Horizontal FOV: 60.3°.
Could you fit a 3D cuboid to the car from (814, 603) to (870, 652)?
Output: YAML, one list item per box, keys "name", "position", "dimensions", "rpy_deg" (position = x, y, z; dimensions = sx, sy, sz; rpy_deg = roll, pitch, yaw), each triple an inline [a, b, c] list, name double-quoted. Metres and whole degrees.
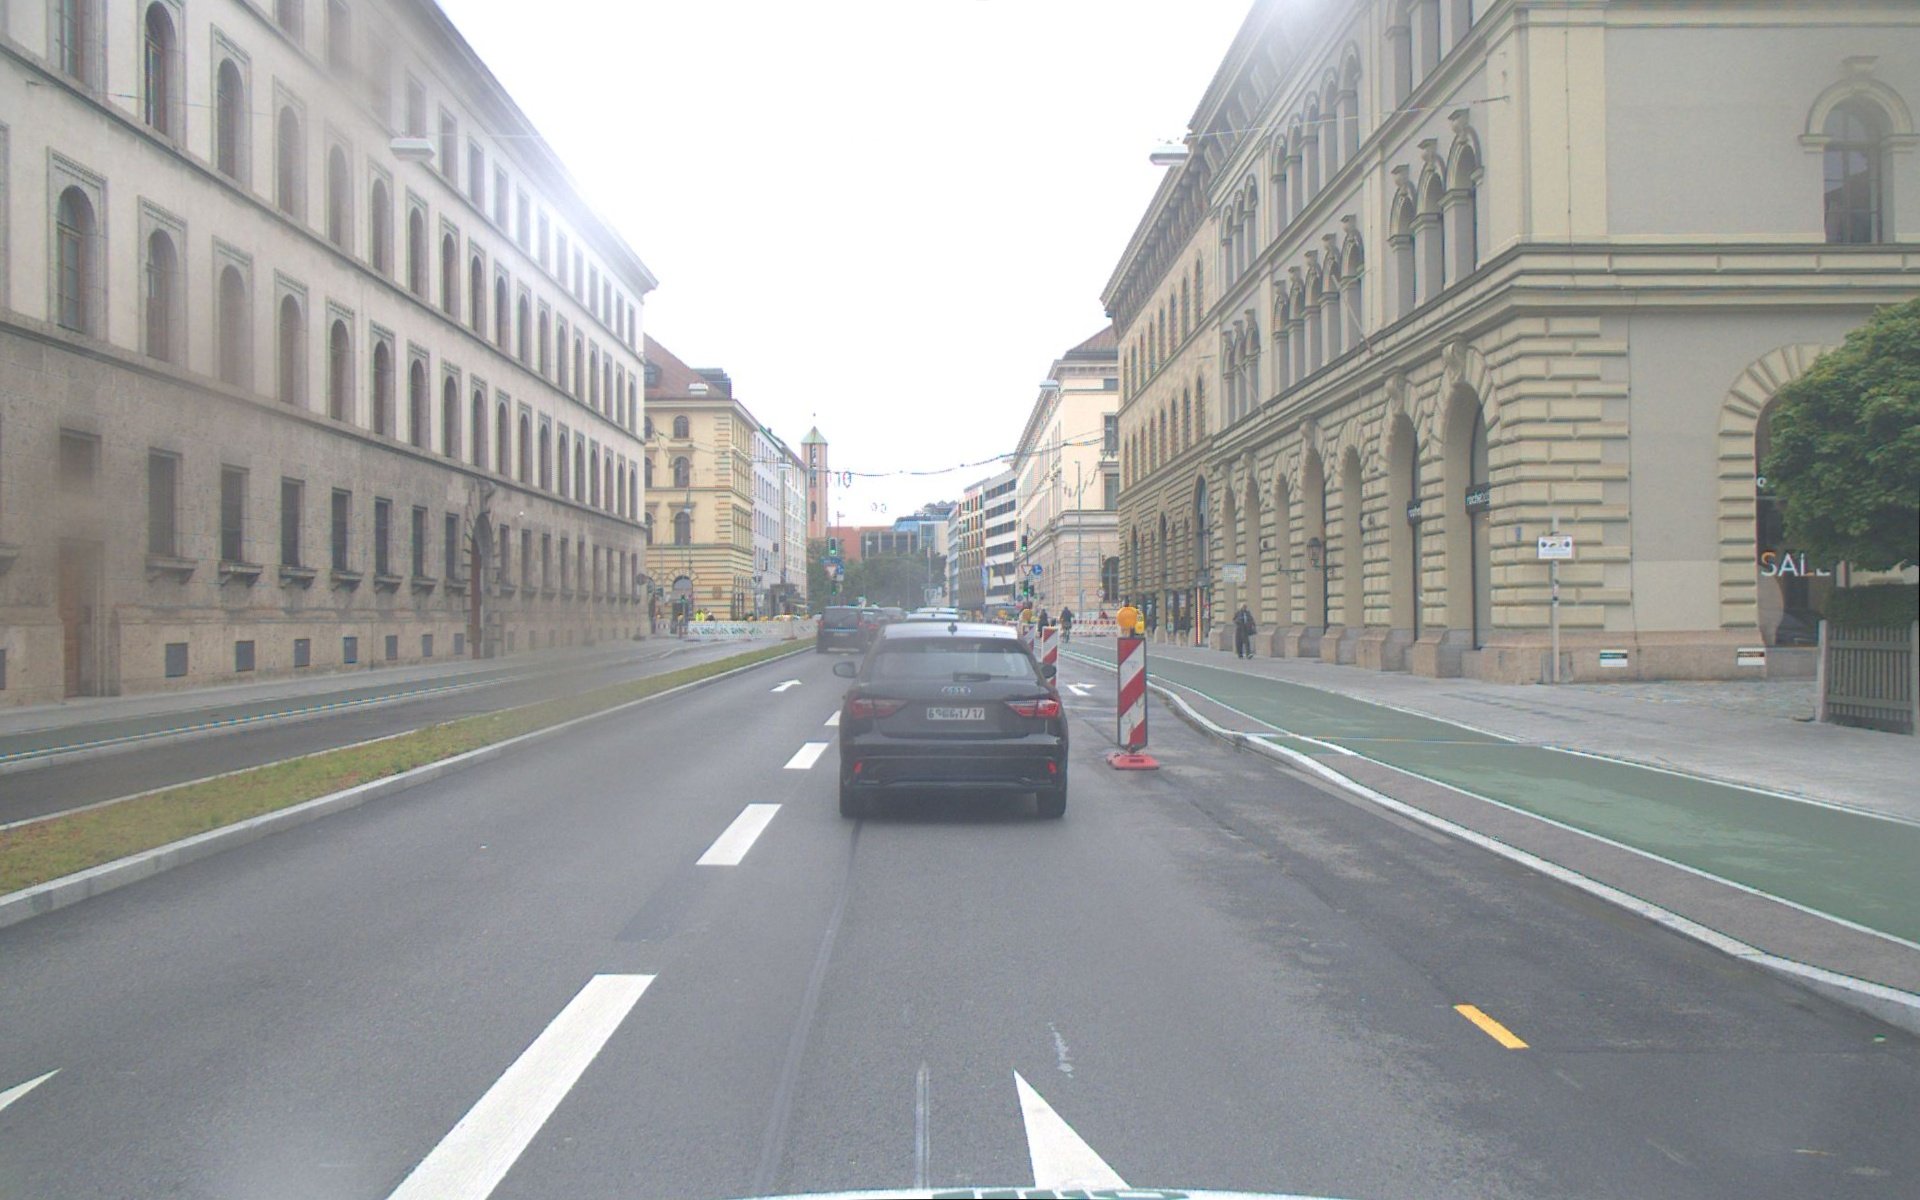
- name: "car"
  position: [-4.108, 0.938, 58.115]
  dimensions: [1.729, 1.644, 4.029]
  rpy_deg: [1, 0, -1]

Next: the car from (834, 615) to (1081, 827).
- name: "car"
  position: [-0.052, 0.855, 13.457]
  dimensions: [1.695, 1.427, 3.999]
  rpy_deg: [1, 0, -1]

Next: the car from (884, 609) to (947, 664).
- name: "car"
  position: [-1.260, 1.014, 47.397]
  dimensions: [1.695, 1.486, 3.999]
  rpy_deg: [1, 0, -1]

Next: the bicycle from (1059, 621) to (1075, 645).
- name: "bicycle"
  position: [5.302, 1.631, 81.741]
  dimensions: [0.713, 1.177, 2.172]
  rpy_deg: [-1, 0, 2]

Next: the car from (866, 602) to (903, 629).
- name: "car"
  position: [-4.294, 0.885, 94.901]
  dimensions: [1.953, 1.469, 3.999]
  rpy_deg: [0, 0, -1]

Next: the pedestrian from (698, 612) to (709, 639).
- name: "pedestrian"
  position: [-18.036, 1.799, 116.191]
  dimensions: [0.642, 1.836, 0.727]
  rpy_deg: [0, -1, -2]

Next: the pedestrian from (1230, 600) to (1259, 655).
- name: "pedestrian"
  position: [8.646, 0.836, 50.277]
  dimensions: [0.695, 1.646, 0.754]
  rpy_deg: [0, -1, -2]

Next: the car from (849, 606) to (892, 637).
- name: "car"
  position: [-4.444, 1.060, 82.543]
  dimensions: [1.953, 1.469, 3.999]
  rpy_deg: [0, 0, -1]

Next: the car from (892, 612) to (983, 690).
- name: "car"
  position: [-0.459, 0.981, 33.222]
  dimensions: [1.695, 1.427, 3.999]
  rpy_deg: [1, 0, -1]

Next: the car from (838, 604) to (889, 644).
- name: "car"
  position: [-4.085, 0.995, 70.700]
  dimensions: [1.953, 1.656, 3.999]
  rpy_deg: [0, 0, -1]

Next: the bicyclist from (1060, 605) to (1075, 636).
- name: "bicyclist"
  position: [5.292, 1.024, 81.667]
  dimensions: [0.695, 1.526, 0.754]
  rpy_deg: [0, -1, 2]
